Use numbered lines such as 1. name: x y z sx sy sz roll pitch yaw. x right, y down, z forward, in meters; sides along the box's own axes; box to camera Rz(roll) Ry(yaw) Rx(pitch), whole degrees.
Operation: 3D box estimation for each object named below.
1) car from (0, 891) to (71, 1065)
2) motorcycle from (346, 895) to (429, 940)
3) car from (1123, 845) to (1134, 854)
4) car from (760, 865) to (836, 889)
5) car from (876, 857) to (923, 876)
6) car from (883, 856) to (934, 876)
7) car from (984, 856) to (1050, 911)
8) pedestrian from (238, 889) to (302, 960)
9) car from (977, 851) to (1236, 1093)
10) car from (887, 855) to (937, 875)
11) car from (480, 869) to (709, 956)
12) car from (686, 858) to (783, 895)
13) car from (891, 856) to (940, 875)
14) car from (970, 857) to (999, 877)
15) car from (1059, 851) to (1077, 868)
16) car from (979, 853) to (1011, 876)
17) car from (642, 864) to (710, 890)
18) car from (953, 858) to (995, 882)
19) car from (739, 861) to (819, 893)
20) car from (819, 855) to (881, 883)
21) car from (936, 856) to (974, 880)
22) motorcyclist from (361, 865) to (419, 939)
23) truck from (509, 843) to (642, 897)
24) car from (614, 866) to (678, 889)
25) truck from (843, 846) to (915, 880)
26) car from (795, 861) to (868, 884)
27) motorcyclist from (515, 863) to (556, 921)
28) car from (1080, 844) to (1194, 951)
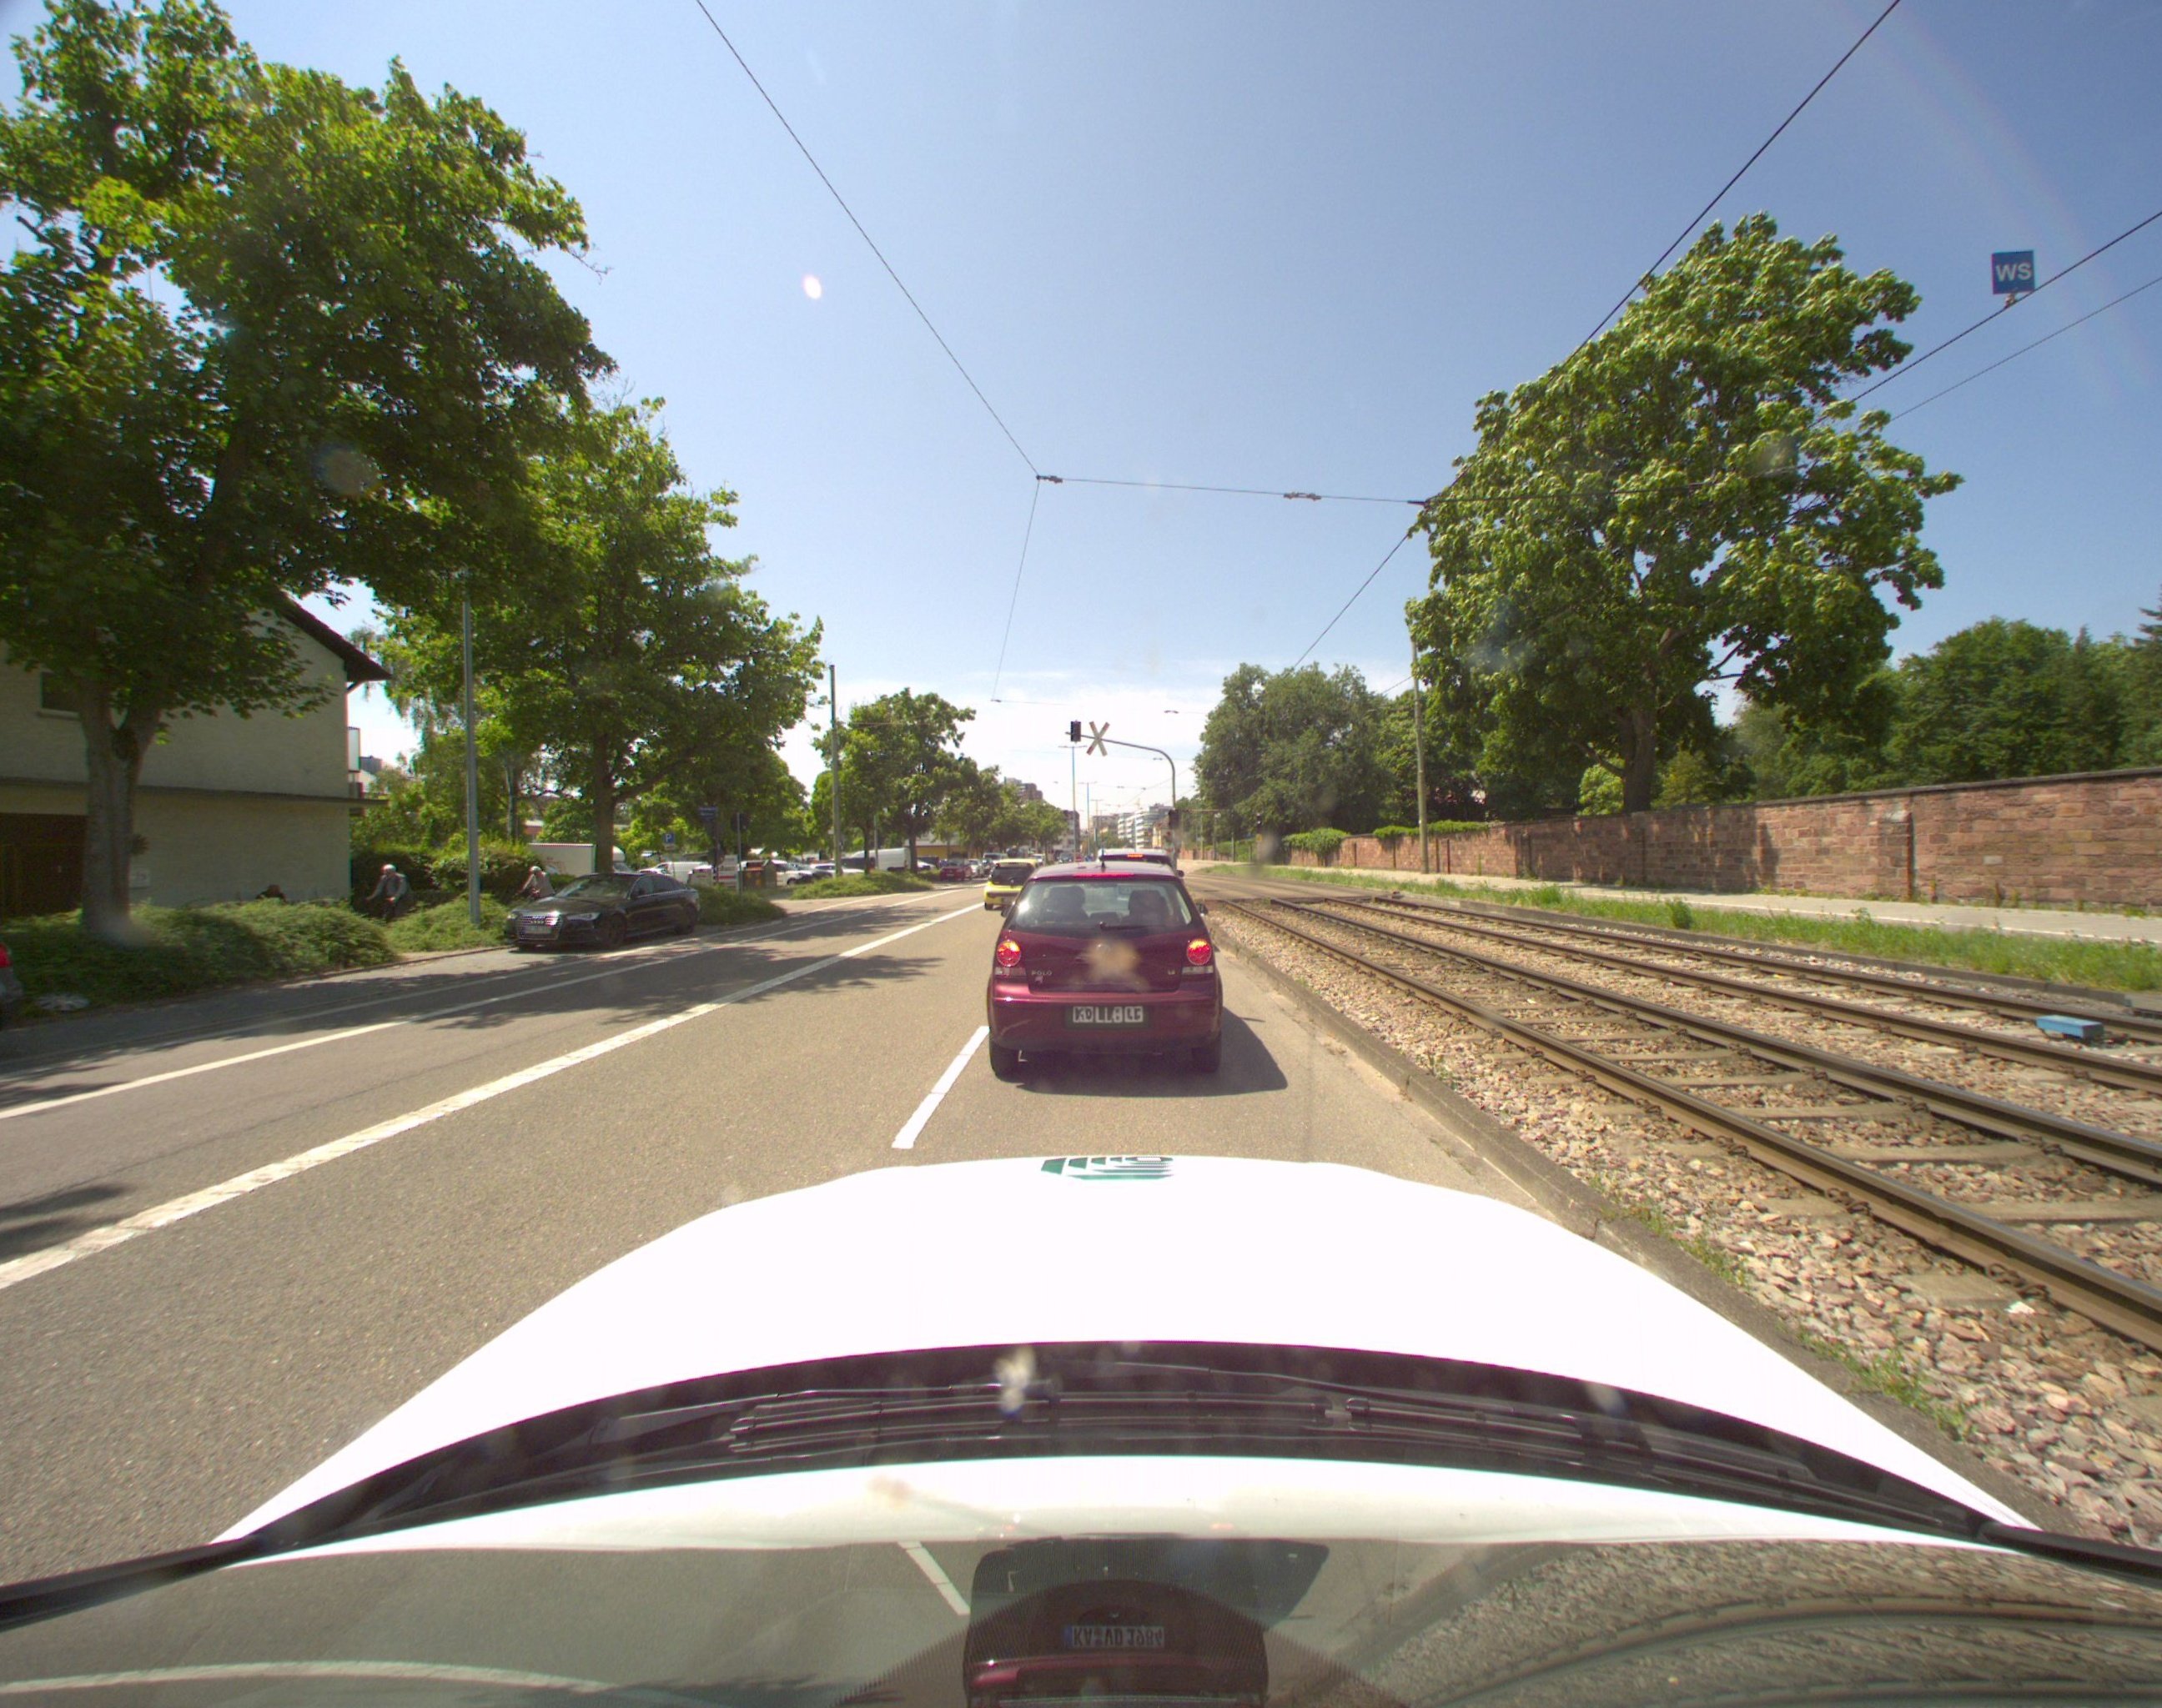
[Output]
1. car: -10.249 1.100 5.504 1.670 1.486 4.128 0 0 0
2. motorcycle: -14.717 1.338 17.319 0.524 0.825 1.372 1 0 3
3. car: 9.829 -0.937 168.544 1.914 1.910 4.566 -2 0 -3
4. car: -18.394 1.482 53.102 4.185 1.403 2.079 -2 0 -2
5. car: -17.834 1.213 80.101 4.195 1.765 1.857 -2 0 0
6. car: -17.437 1.164 82.344 4.702 1.813 1.797 -2 0 0
7. car: -1.797 0.807 23.707 1.545 1.448 3.413 0 0 2
8. pedestrian: -17.903 1.546 17.993 0.789 1.510 0.610 -2 0 8
9. car: 0.222 0.732 7.078 1.603 1.498 4.002 0 0 2
10. car: -17.550 1.121 84.574 4.702 1.813 1.797 -2 0 0
11. car: -9.790 1.085 16.966 1.888 1.456 4.809 0 0 0
12. car: -19.235 1.208 45.394 4.437 1.857 2.059 -2 0 -3
13. car: -17.636 1.186 86.866 4.702 1.813 1.797 -2 0 0
14. car: -7.851 1.052 66.315 1.607 1.484 3.789 2 0 4
15. car: -1.590 0.620 99.957 1.911 1.910 4.573 -3 0 2
16. car: -7.529 0.878 71.635 1.854 1.937 4.811 2 0 4
17. car: -30.653 1.710 61.739 4.112 1.820 1.971 -1 0 1
18. car: -8.017 1.184 61.352 1.709 1.426 4.782 -8 0 8
19. car: -18.542 1.404 50.122 4.247 1.835 1.675 -2 0 4
20. car: -18.072 1.136 63.829 4.195 1.995 1.857 -2 0 0
21. car: -8.384 0.917 54.544 1.664 1.546 3.731 0 -1 4
22. motorcyclist: -14.709 1.005 17.352 0.584 1.503 0.726 1 0 3
23. truck: -31.924 1.005 51.566 6.954 3.227 2.150 -1 0 0
24. car: -31.672 1.723 59.382 3.733 1.576 1.733 -1 0 1
25. truck: -17.737 0.760 71.787 5.555 2.759 2.434 -2 0 3
26. car: -18.686 1.397 61.183 4.745 1.488 2.058 -2 0 0
27. motorcyclist: -14.487 0.990 21.644 0.584 1.503 0.663 1 0 3
28. car: 0.954 0.685 14.869 1.788 1.683 4.002 0 0 2
